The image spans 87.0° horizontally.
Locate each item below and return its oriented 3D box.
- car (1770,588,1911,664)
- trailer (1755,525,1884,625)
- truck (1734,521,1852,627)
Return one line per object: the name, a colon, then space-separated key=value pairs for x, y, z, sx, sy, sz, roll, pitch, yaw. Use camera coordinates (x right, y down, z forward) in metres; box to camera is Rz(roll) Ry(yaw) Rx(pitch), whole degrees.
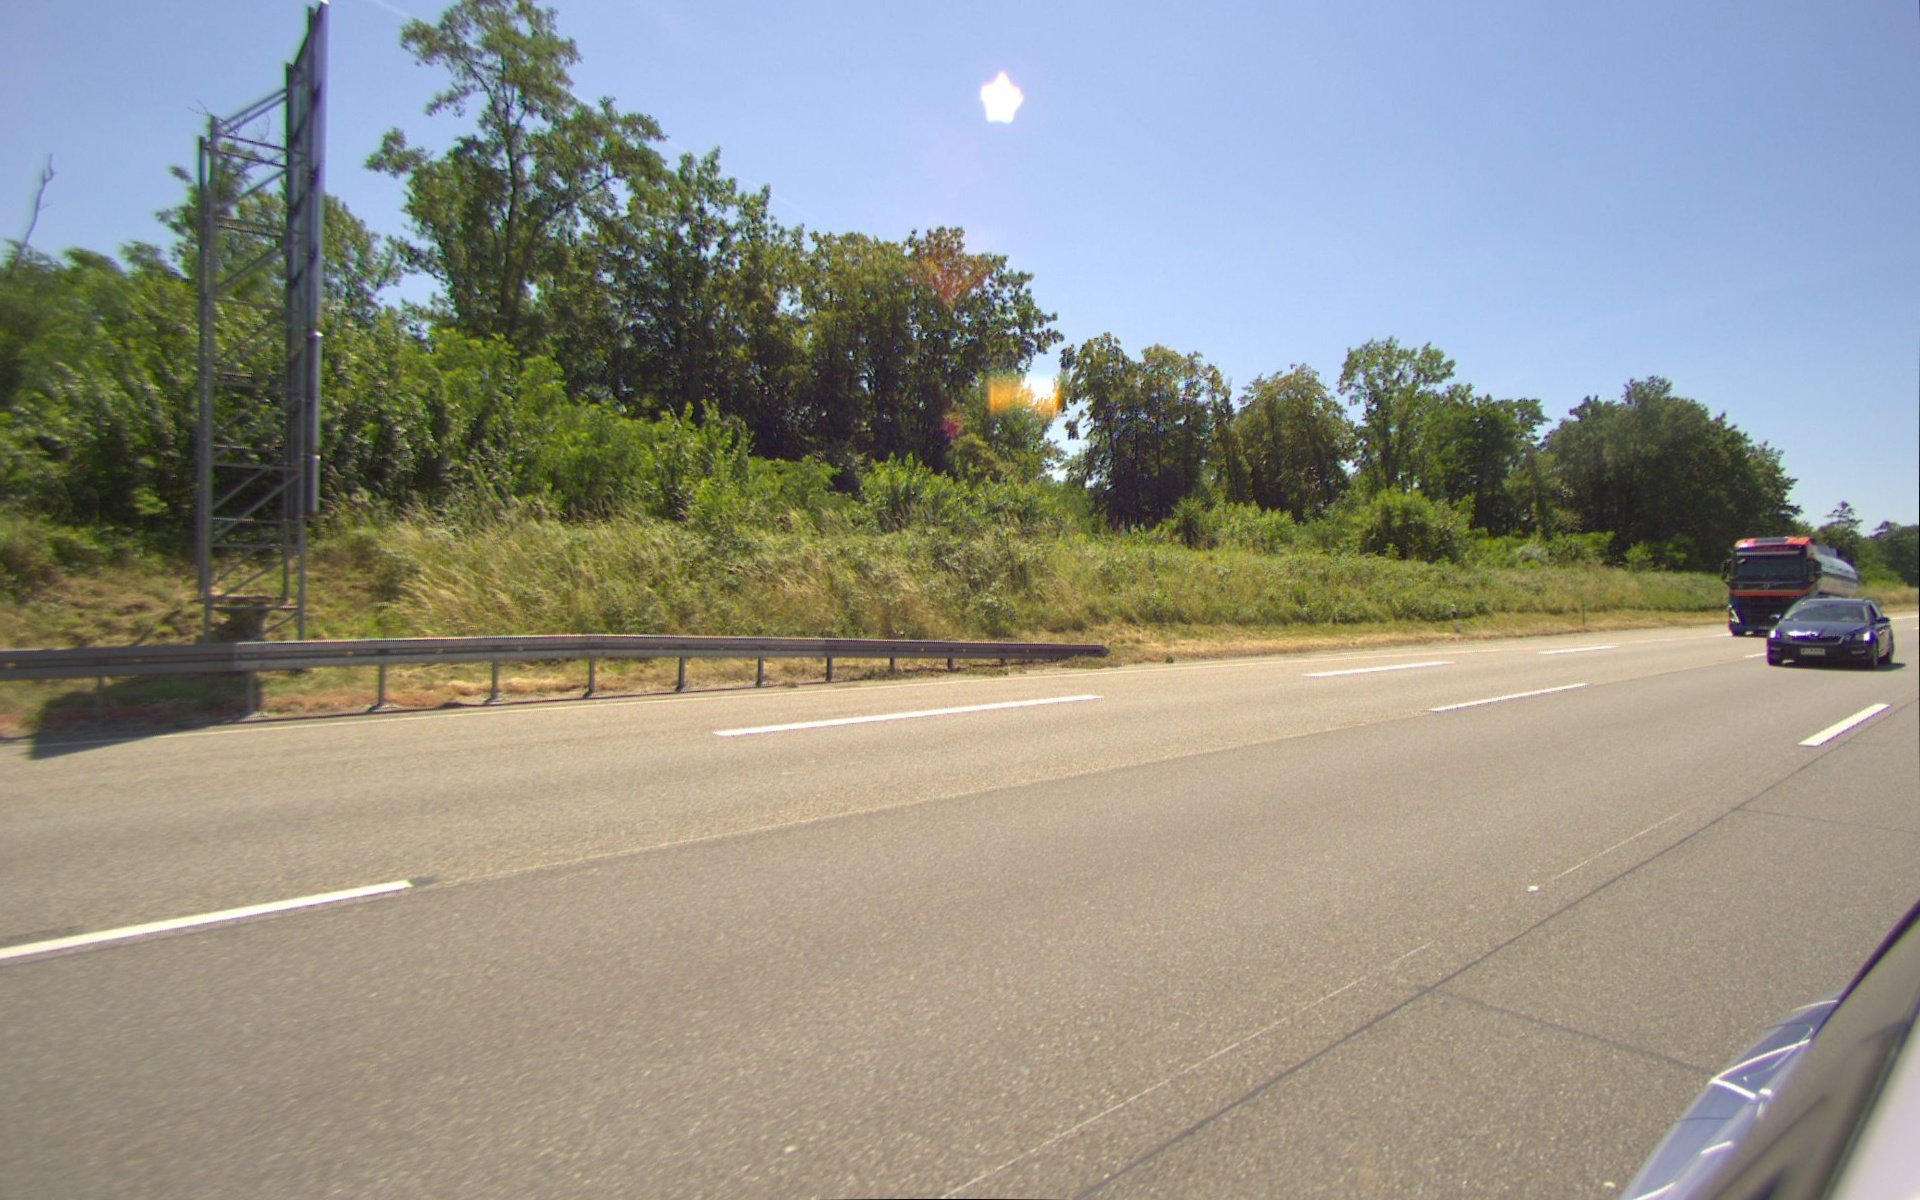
car: x=19.242 y=0.508 z=22.057 sx=4.198 sy=1.502 sz=1.804 roll=0 pitch=0 yaw=-42
trailer: x=36.492 y=-0.975 z=42.761 sx=11.348 sy=3.781 sz=2.533 roll=0 pitch=0 yaw=-41
truck: x=31.997 y=-0.944 z=38.799 sx=5.992 sy=3.781 sz=2.533 roll=0 pitch=0 yaw=-41
